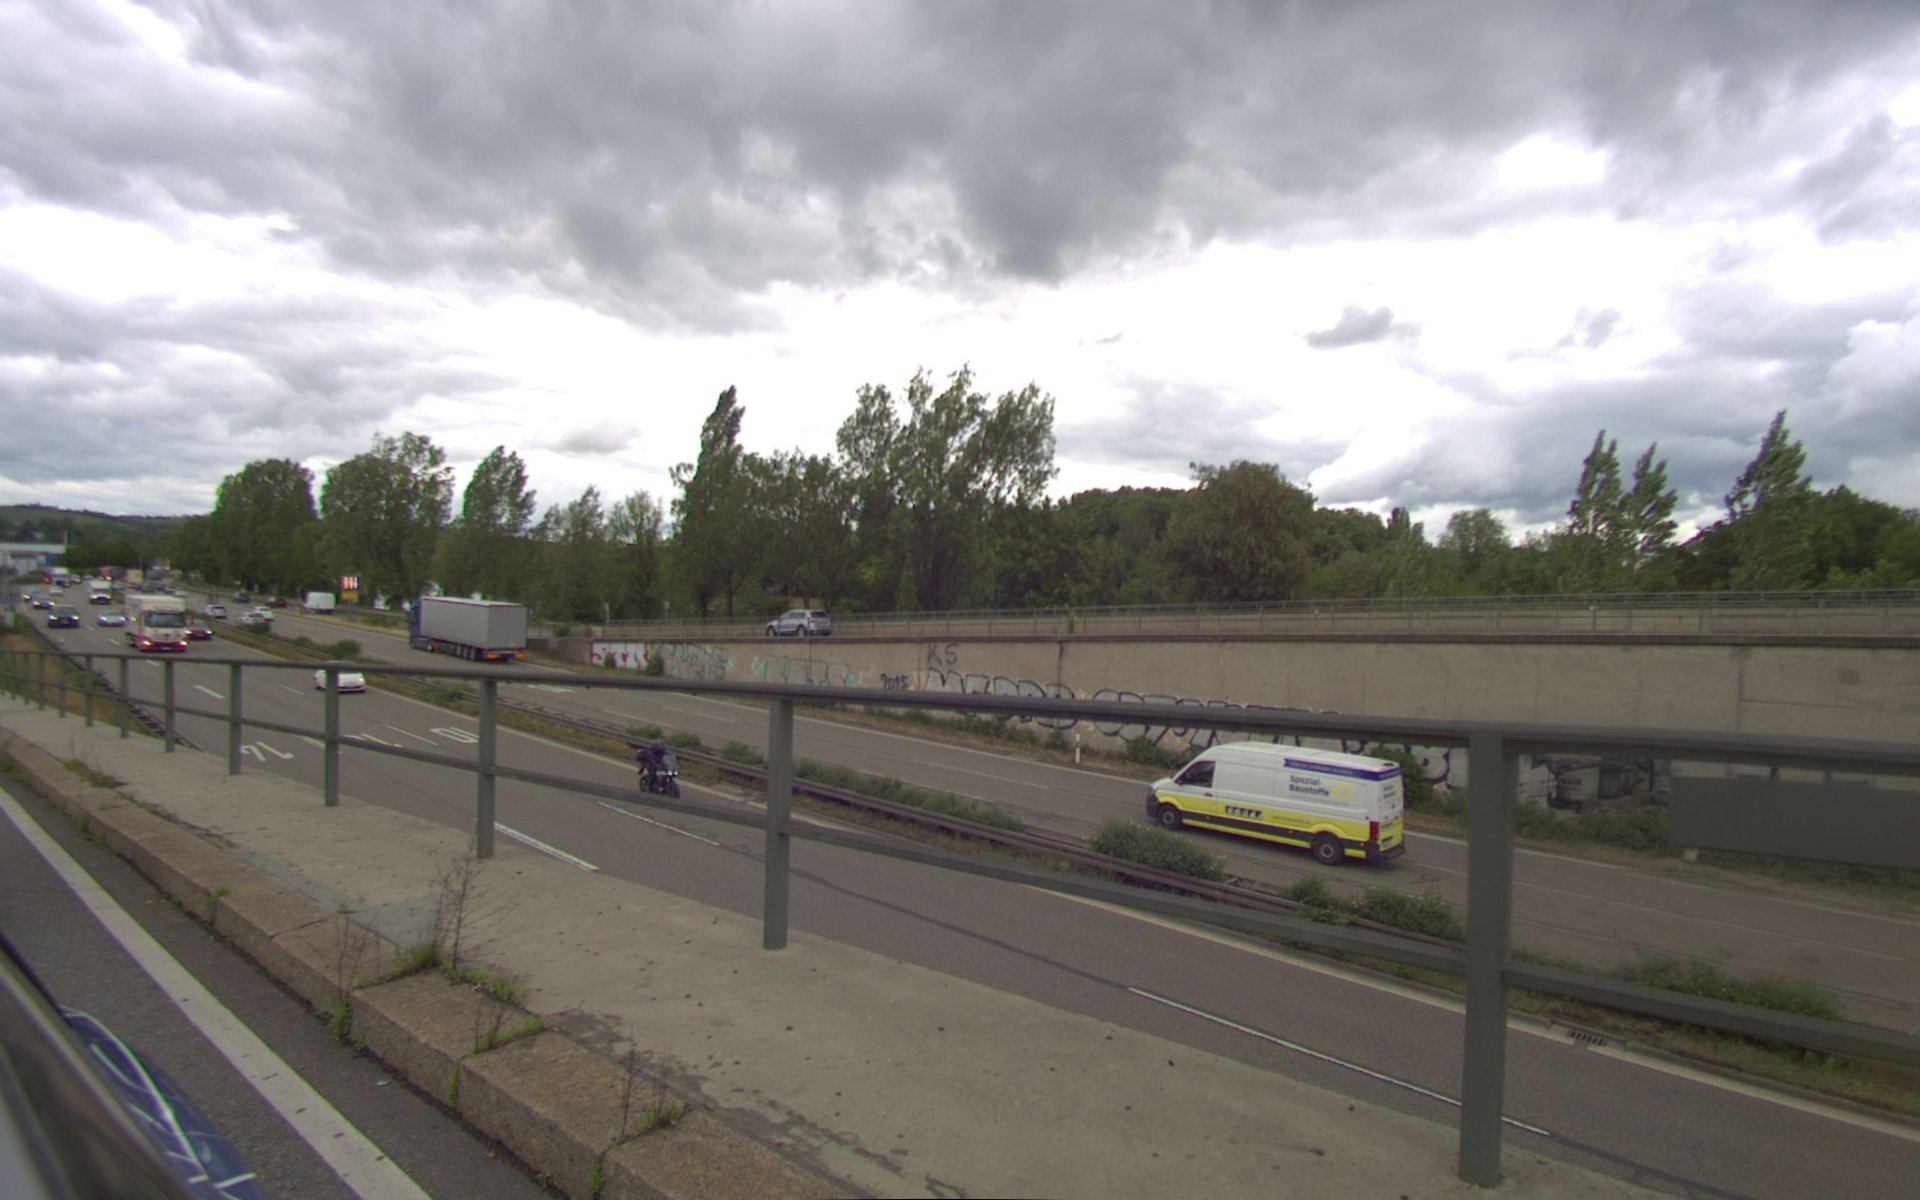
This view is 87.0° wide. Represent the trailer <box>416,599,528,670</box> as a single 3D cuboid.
[{"bbox_3d":[-35.243,2.270,72.599,13.772,4.170,2.755,3,1,45],"label":"trailer"}]

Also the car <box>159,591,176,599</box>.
[{"bbox_3d":[-149.450,-0.924,190.781,4.002,1.431,1.971,2,1,44],"label":"car"}]

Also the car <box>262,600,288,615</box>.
[{"bbox_3d":[-95.411,1.088,140.999,4.562,1.831,1.861,2,-3,42],"label":"car"}]

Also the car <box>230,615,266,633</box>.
[{"bbox_3d":[-65.889,2.182,93.667,4.002,1.431,1.971,2,-3,45],"label":"car"}]

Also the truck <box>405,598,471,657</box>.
[{"bbox_3d":[-39.832,2.015,77.146,5.939,4.170,2.755,3,1,45],"label":"truck"}]

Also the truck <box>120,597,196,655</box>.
[{"bbox_3d":[-55.567,1.710,69.987,9.877,3.552,2.849,2,-1,45],"label":"truck"}]

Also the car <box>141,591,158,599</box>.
[{"bbox_3d":[-154.612,-0.964,193.058,4.002,1.431,1.971,2,1,44],"label":"car"}]

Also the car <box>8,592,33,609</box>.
[{"bbox_3d":[-119.411,0.095,128.630,4.001,2.029,1.971,2,-1,43],"label":"car"}]

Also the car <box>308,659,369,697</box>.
[{"bbox_3d":[-31.269,3.876,50.854,3.608,1.544,1.674,2,1,43],"label":"car"}]

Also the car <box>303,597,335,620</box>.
[{"bbox_3d":[-81.012,1.022,127.922,5.180,2.669,1.972,2,-3,42],"label":"car"}]

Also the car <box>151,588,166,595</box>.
[{"bbox_3d":[-165.576,-1.816,209.040,4.002,1.431,1.971,2,1,44],"label":"car"}]

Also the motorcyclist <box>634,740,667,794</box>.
[{"bbox_3d":[-8.956,4.812,29.268,0.762,1.382,0.587,2,1,42],"label":"motorcyclist"}]

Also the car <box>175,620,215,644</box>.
[{"bbox_3d":[-59.585,2.466,78.791,4.183,1.590,1.810,3,2,43],"label":"car"}]

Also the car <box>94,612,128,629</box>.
[{"bbox_3d":[-75.383,1.818,89.865,4.153,1.311,1.766,2,0,43],"label":"car"}]

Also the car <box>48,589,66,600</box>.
[{"bbox_3d":[-144.542,-0.885,161.999,3.335,1.539,1.746,2,0,41],"label":"car"}]

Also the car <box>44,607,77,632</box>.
[{"bbox_3d":[-76.103,1.634,85.621,1.970,1.853,4.430,2,0,-43],"label":"car"}]

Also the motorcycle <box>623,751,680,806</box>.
[{"bbox_3d":[-8.934,5.142,29.249,2.126,1.212,0.587,2,1,43],"label":"motorcycle"}]

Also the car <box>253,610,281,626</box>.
[{"bbox_3d":[-72.758,1.854,106.218,4.002,1.431,1.660,3,0,44],"label":"car"}]

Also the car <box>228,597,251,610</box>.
[{"bbox_3d":[-110.225,0.516,154.889,4.562,1.831,1.861,2,-3,42],"label":"car"}]

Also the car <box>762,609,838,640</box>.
[{"bbox_3d":[-9.182,1.413,57.877,4.375,1.664,1.873,-1,0,41],"label":"car"}]

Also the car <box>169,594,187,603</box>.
[{"bbox_3d":[-137.041,-0.223,177.432,4.002,1.431,1.971,2,1,44],"label":"car"}]

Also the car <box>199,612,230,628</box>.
[{"bbox_3d":[-78.639,2.119,106.736,4.002,1.431,1.971,2,-3,45],"label":"car"}]

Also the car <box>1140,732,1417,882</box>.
[{"bbox_3d":[8.234,5.261,26.814,6.713,2.648,1.972,2,-1,42],"label":"car"}]

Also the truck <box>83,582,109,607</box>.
[{"bbox_3d":[-113.095,-0.705,132.383,2.207,3.031,7.239,1,1,-43],"label":"truck"}]

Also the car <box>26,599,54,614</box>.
[{"bbox_3d":[-102.611,0.754,112.831,4.126,1.461,1.804,2,0,41],"label":"car"}]
